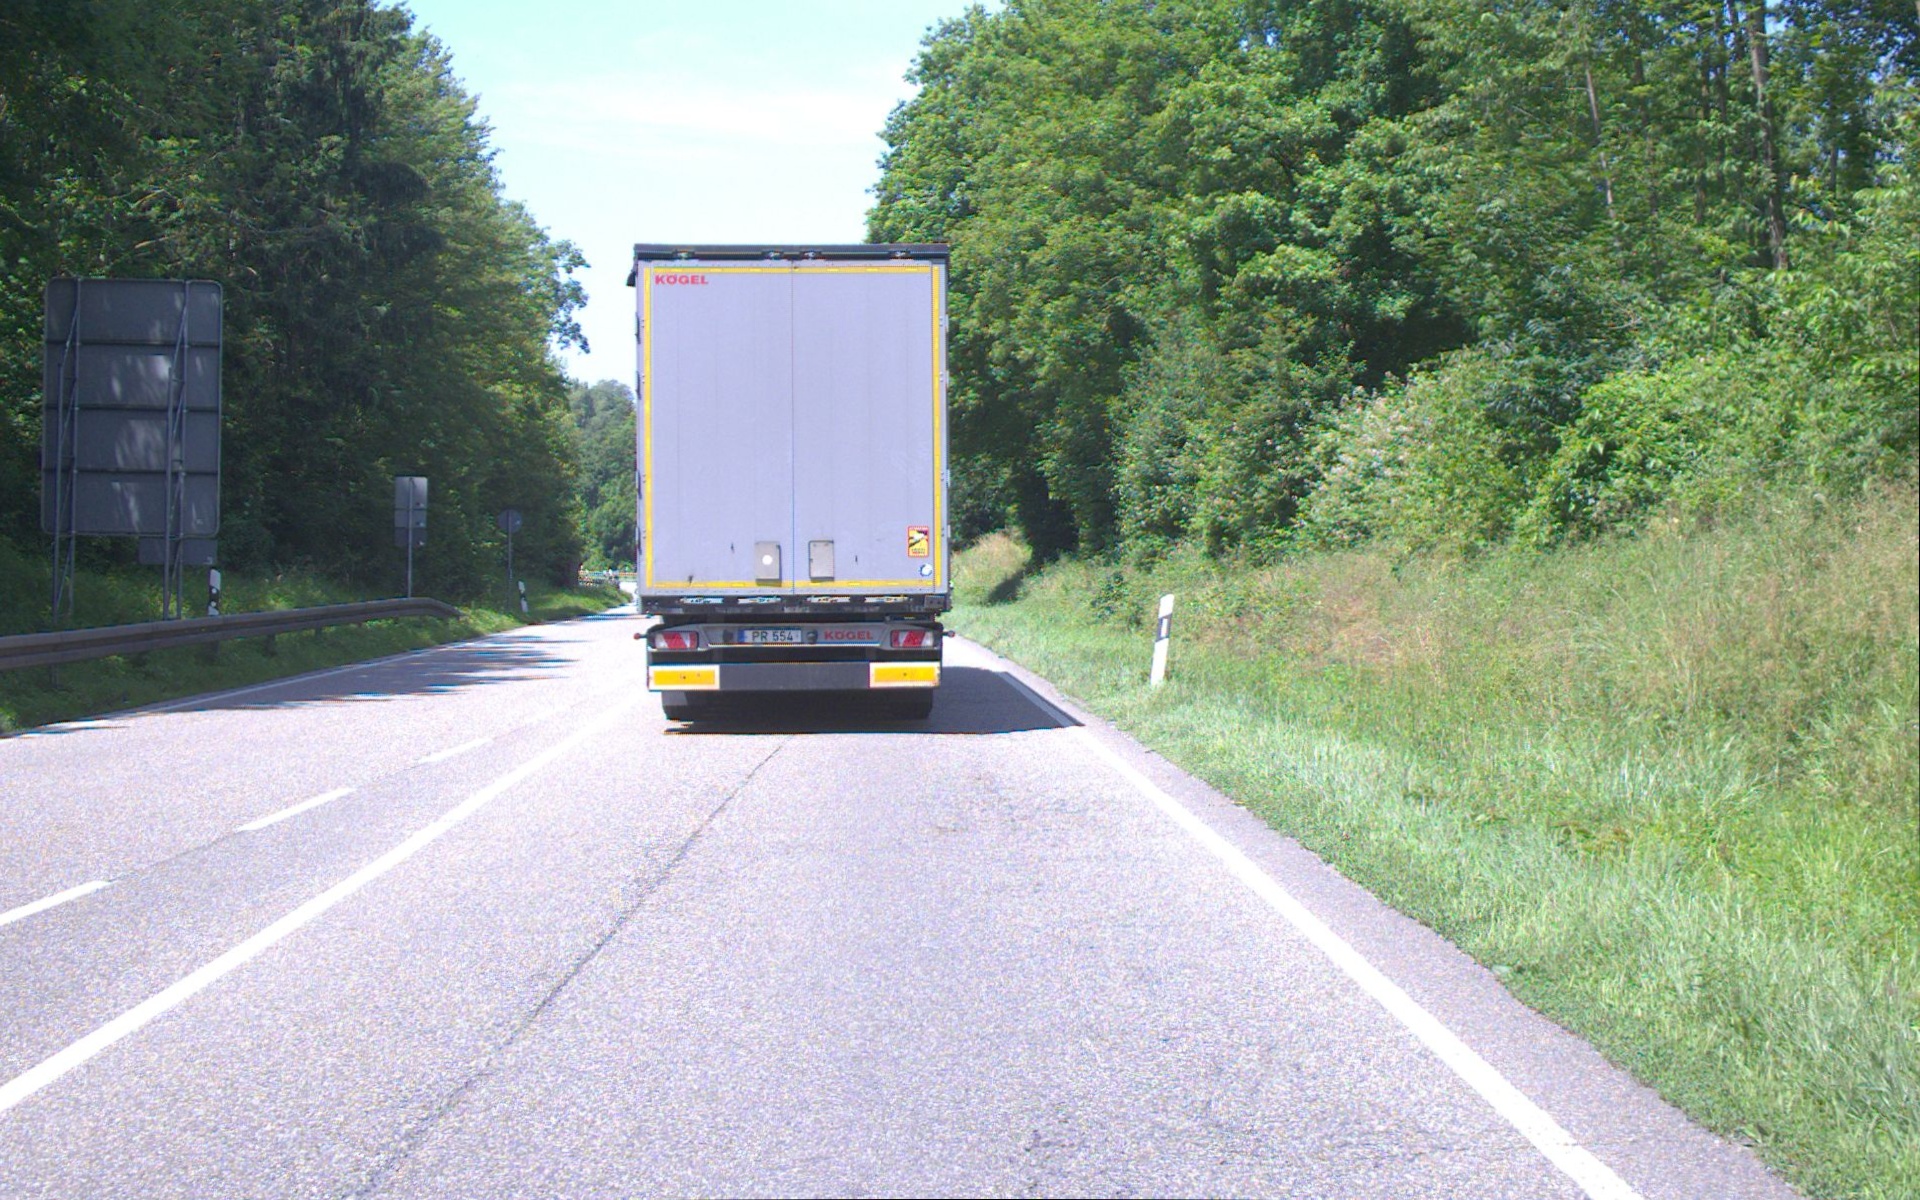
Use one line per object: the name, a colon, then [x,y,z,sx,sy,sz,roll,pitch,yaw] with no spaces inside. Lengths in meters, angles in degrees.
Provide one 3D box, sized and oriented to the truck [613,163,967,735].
truck: [-1.458,-1.324,31.070,2.822,4.587,6.666,0,2,-1]
